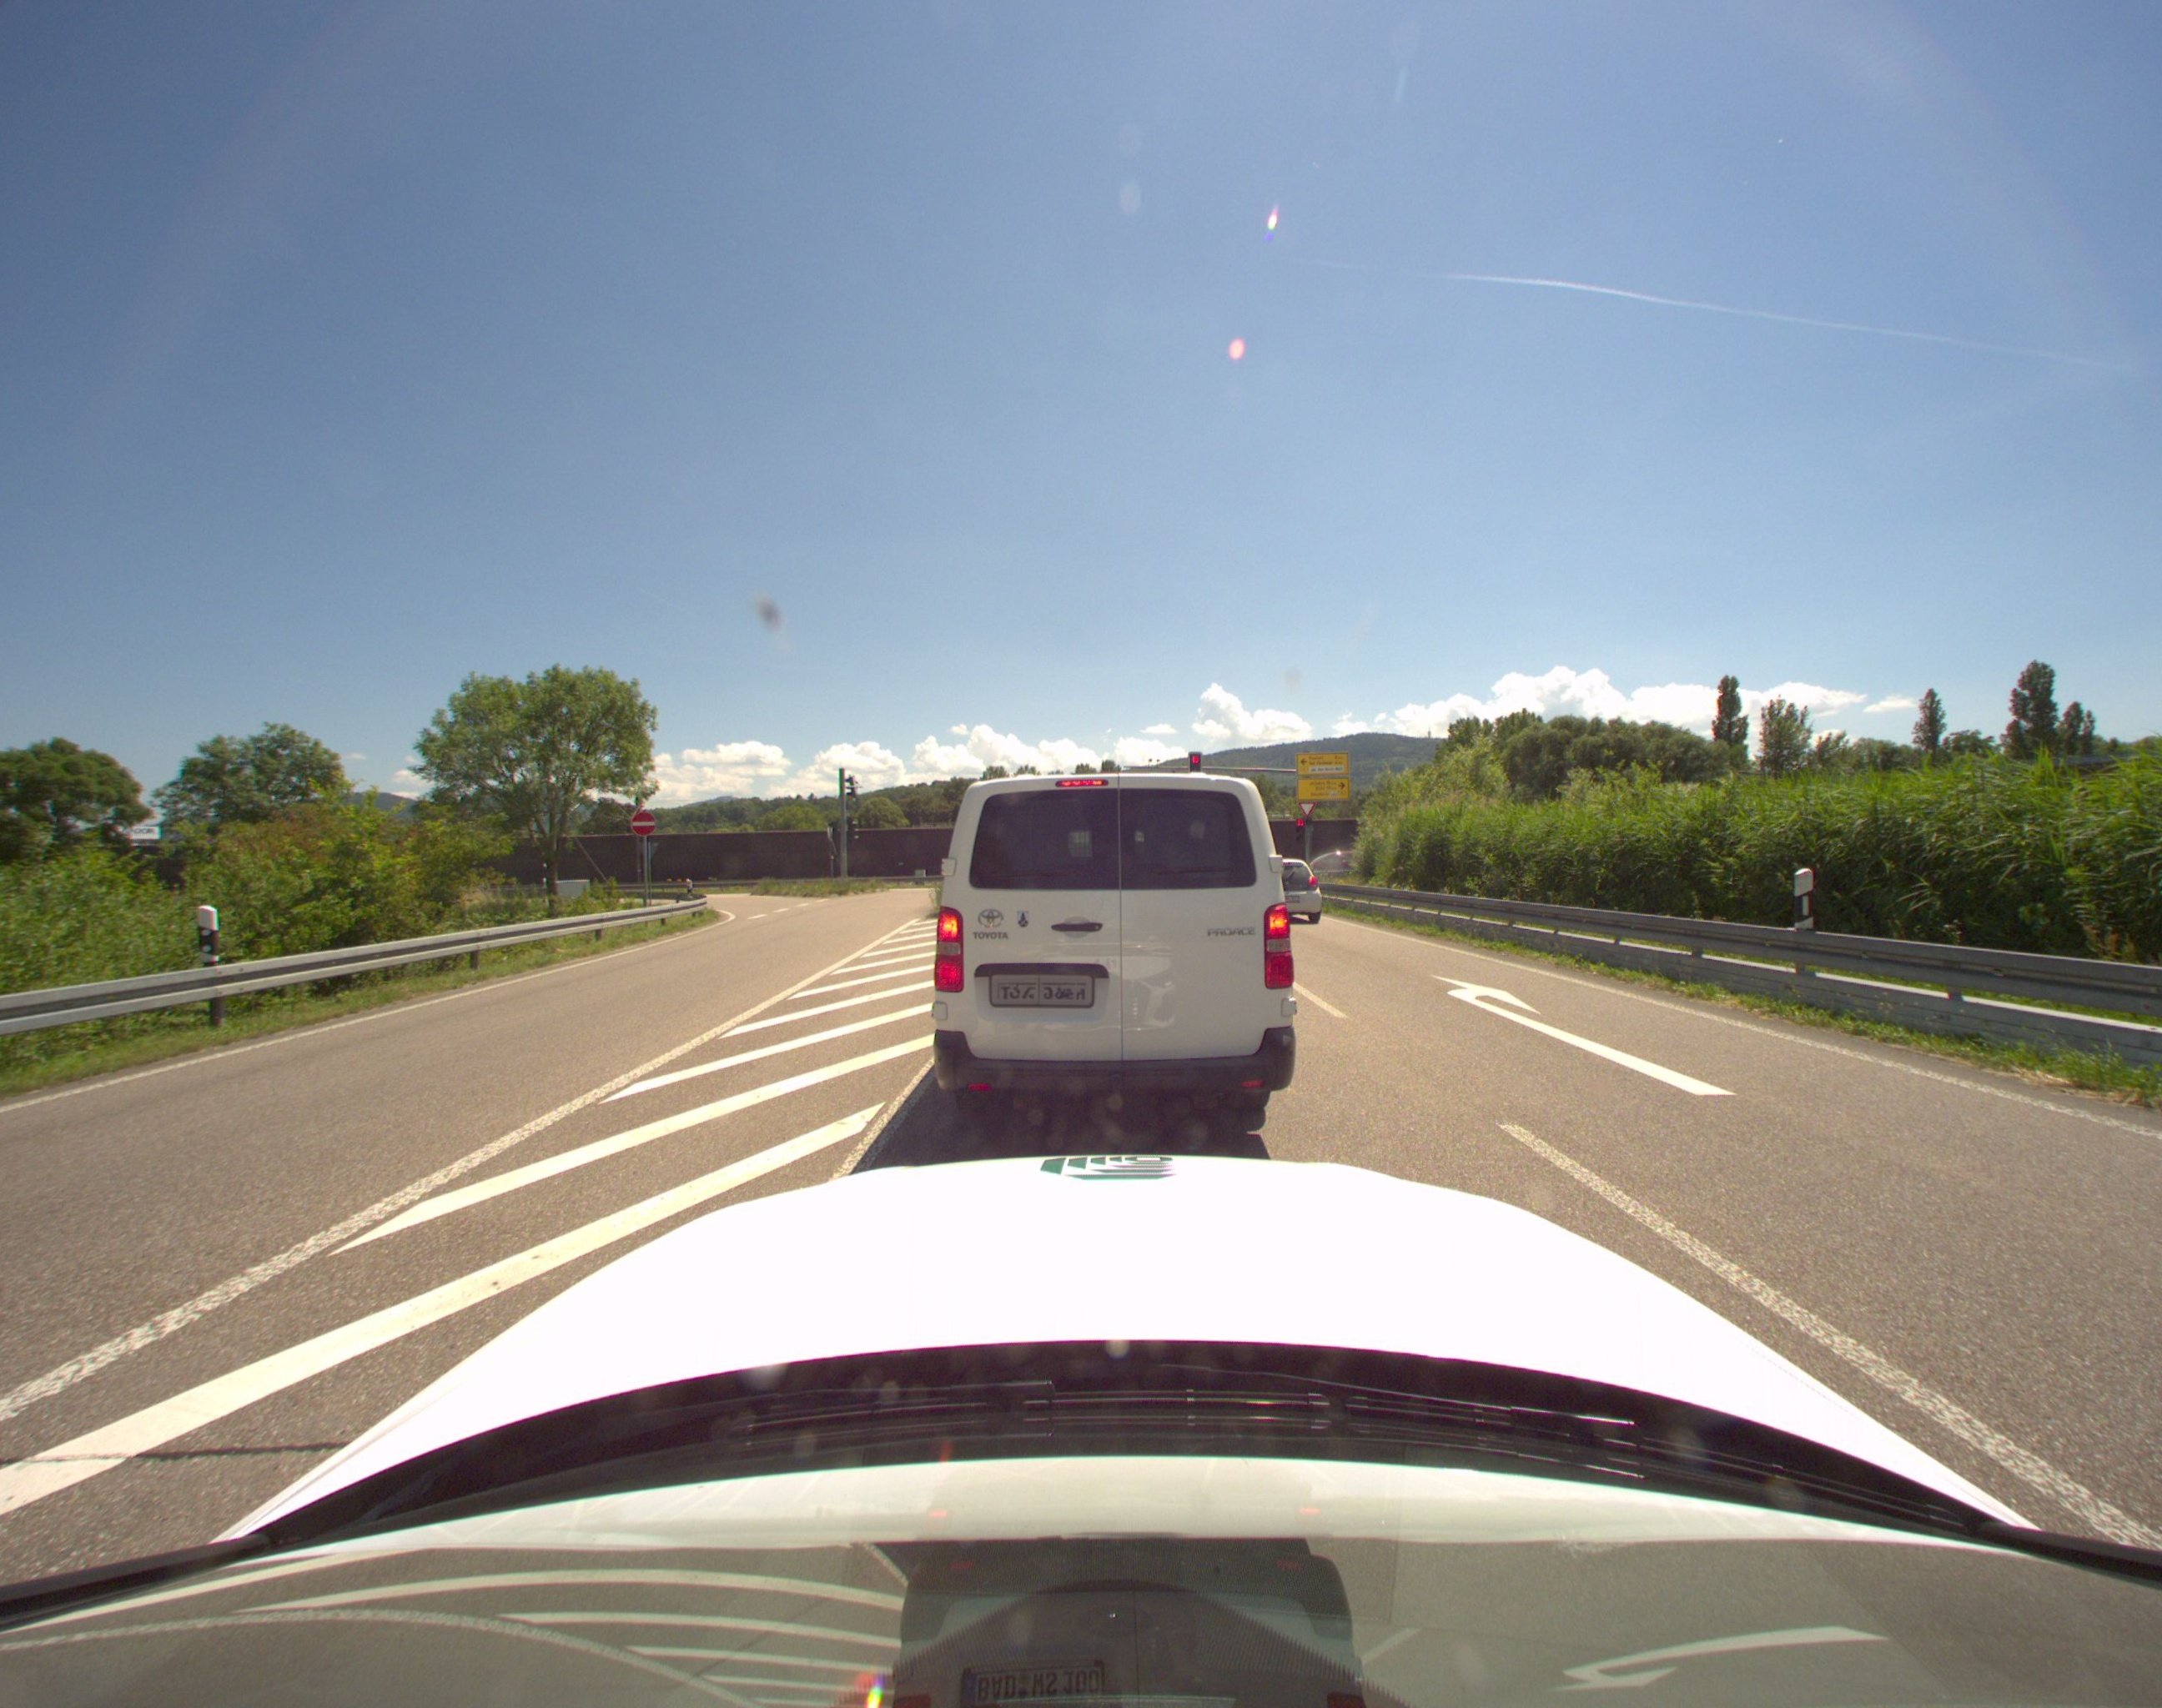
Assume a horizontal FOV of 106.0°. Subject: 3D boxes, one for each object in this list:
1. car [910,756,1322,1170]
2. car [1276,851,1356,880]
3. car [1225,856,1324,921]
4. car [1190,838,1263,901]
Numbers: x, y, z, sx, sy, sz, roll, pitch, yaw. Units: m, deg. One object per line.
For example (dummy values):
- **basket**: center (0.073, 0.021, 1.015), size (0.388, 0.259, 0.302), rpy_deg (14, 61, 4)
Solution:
- **car**: center (0.207, 0.515, 5.753), size (1.880, 1.886, 4.001), rpy_deg (-1, 0, 1)
- **car**: center (14.270, 0.712, 49.647), size (4.298, 1.656, 1.999), rpy_deg (-1, 0, -2)
- **car**: center (4.566, 0.776, 19.638), size (1.650, 1.431, 3.366), rpy_deg (-1, 0, 1)
- **car**: center (4.929, 0.514, 28.237), size (1.920, 2.000, 4.842), rpy_deg (-1, 0, 3)
